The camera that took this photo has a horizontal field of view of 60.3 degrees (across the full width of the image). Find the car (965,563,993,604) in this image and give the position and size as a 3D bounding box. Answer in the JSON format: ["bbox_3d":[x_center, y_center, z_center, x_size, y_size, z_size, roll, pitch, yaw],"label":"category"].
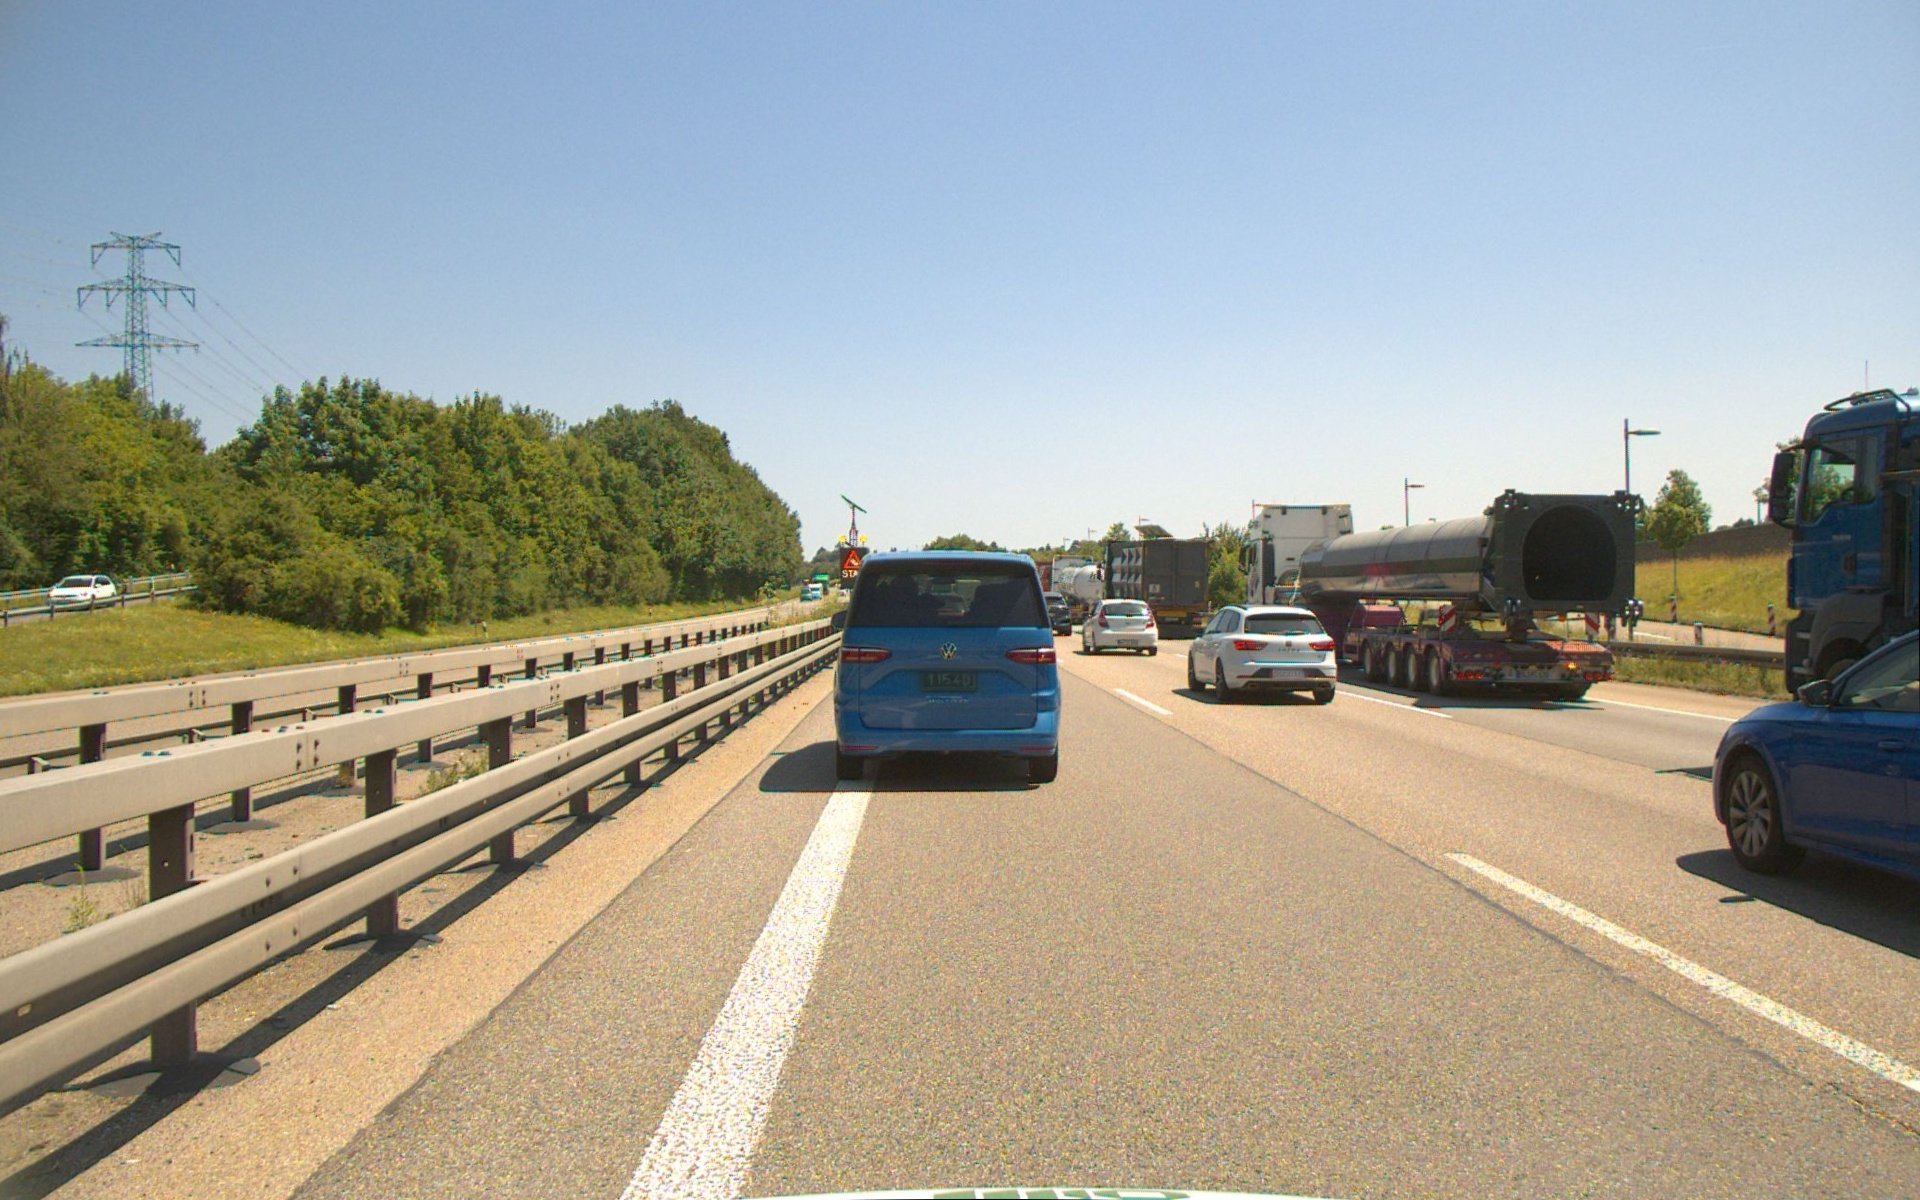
[{"bbox_3d":[2.560,-2.157,225.213,3.155,5.349,8.136,1,-1,-4],"label":"car"}]

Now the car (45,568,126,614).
[{"bbox_3d":[-37.859,-0.422,71.707,1.604,1.703,4.893,1,3,-9],"label":"car"}]

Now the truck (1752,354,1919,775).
[{"bbox_3d":[9.026,-0.258,12.374,2.688,3.369,7.131,1,0,-1],"label":"truck"}]

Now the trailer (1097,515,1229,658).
[{"bbox_3d":[8.035,-0.410,67.514,3.572,5.226,13.072,1,-1,-1],"label":"trailer"}]

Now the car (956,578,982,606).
[{"bbox_3d":[0.908,-0.793,167.328,2.499,2.765,5.619,1,-1,-1],"label":"car"}]

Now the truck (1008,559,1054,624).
[{"bbox_3d":[5.716,-0.629,134.372,3.006,5.006,10.687,1,-1,-1],"label":"truck"}]

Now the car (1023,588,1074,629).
[{"bbox_3d":[3.509,0.356,65.978,1.745,1.551,3.999,1,-1,-1],"label":"car"}]

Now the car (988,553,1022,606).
[{"bbox_3d":[4.671,-2.118,173.779,3.153,5.349,8.142,1,-1,-1],"label":"car"}]

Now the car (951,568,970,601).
[{"bbox_3d":[0.075,-2.298,255.155,2.661,4.795,11.557,1,-1,-1],"label":"car"}]

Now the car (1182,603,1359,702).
[{"bbox_3d":[4.733,0.761,25.772,1.830,1.385,3.998,1,0,-3],"label":"car"}]

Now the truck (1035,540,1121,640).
[{"bbox_3d":[6.715,-0.442,96.942,3.548,5.304,15.684,1,-1,-1],"label":"truck"}]

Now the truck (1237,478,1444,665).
[{"bbox_3d":[9.227,-0.605,41.100,3.551,4.166,7.525,1,-1,1],"label":"truck"}]

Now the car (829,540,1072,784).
[{"bbox_3d":[-0.056,0.503,14.881,1.862,1.870,4.000,1,-1,0],"label":"car"}]

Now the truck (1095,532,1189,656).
[{"bbox_3d":[8.054,-0.215,74.003,3.583,5.270,5.708,1,-1,1],"label":"truck"}]

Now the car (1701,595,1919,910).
[{"bbox_3d":[5.311,0.724,7.756,1.671,1.466,4.427,1,-1,0],"label":"car"}]

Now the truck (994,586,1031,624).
[{"bbox_3d":[2.685,0.278,85.942,1.690,1.890,3.999,1,-1,-1],"label":"truck"}]

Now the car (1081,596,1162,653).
[{"bbox_3d":[4.417,0.673,45.702,1.803,1.480,3.999,1,-1,0],"label":"car"}]

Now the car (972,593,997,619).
[{"bbox_3d":[2.048,0.516,138.666,1.953,2.049,3.999,1,-1,-1],"label":"car"}]

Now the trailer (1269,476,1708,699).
[{"bbox_3d":[9.018,-0.085,31.492,3.571,3.133,15.773,1,-1,1],"label":"trailer"}]
